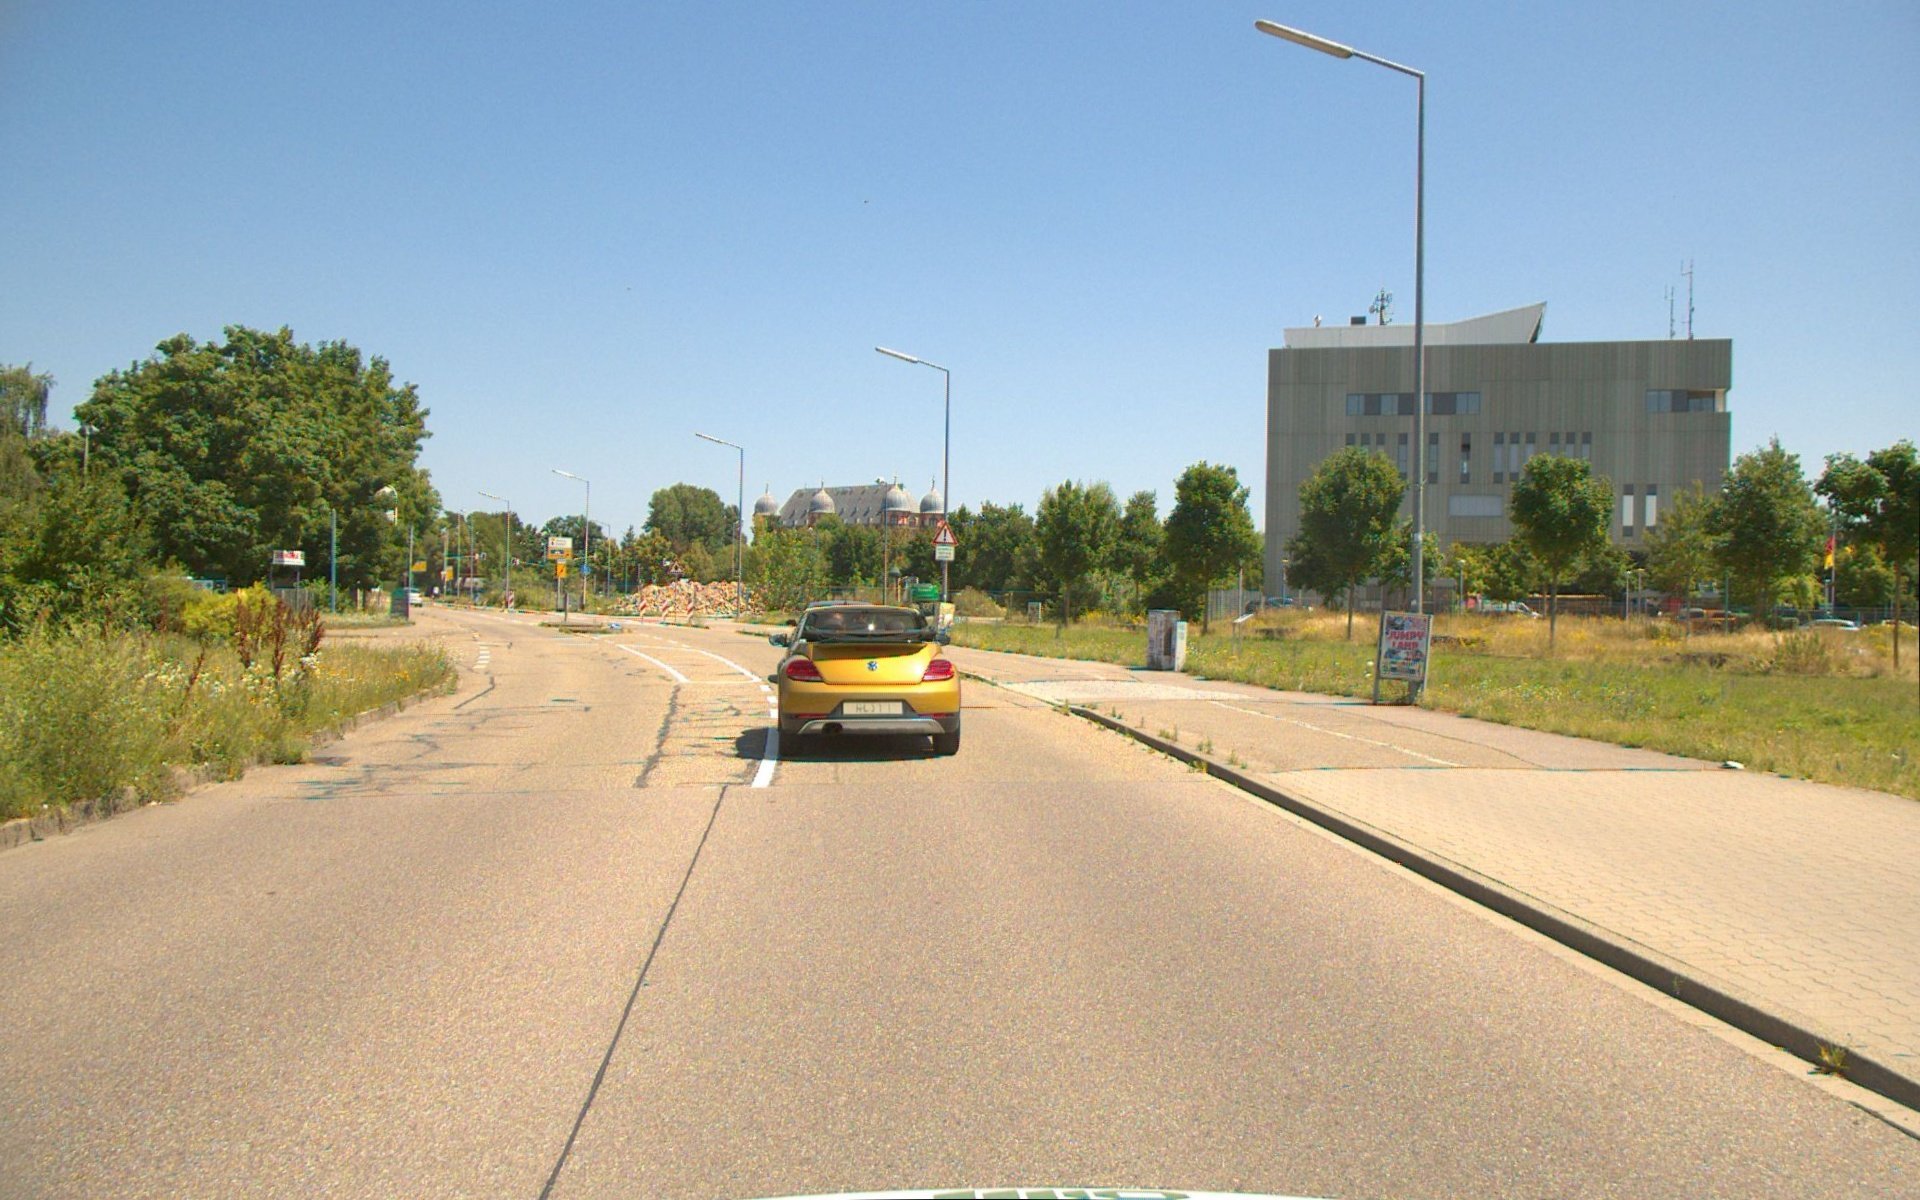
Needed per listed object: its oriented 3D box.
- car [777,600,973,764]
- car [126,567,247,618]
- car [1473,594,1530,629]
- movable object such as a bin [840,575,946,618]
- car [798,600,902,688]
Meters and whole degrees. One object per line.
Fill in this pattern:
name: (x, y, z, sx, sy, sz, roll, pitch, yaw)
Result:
car: (-0.985, 0.760, 17.081, 1.756, 1.462, 3.808, 1, 0, -7)
car: (-32.081, -0.295, 68.704, 4.235, 2.011, 1.775, 1, 0, -16)
car: (37.832, 0.789, 115.667, 3.761, 2.334, 1.743, 1, 0, 17)
movable object such as a bin: (-5.581, -0.325, 135.578, 4.880, 3.317, 10.379, 1, 0, -27)
car: (-2.061, 0.747, 30.110, 1.694, 1.468, 3.994, 1, 0, -7)
